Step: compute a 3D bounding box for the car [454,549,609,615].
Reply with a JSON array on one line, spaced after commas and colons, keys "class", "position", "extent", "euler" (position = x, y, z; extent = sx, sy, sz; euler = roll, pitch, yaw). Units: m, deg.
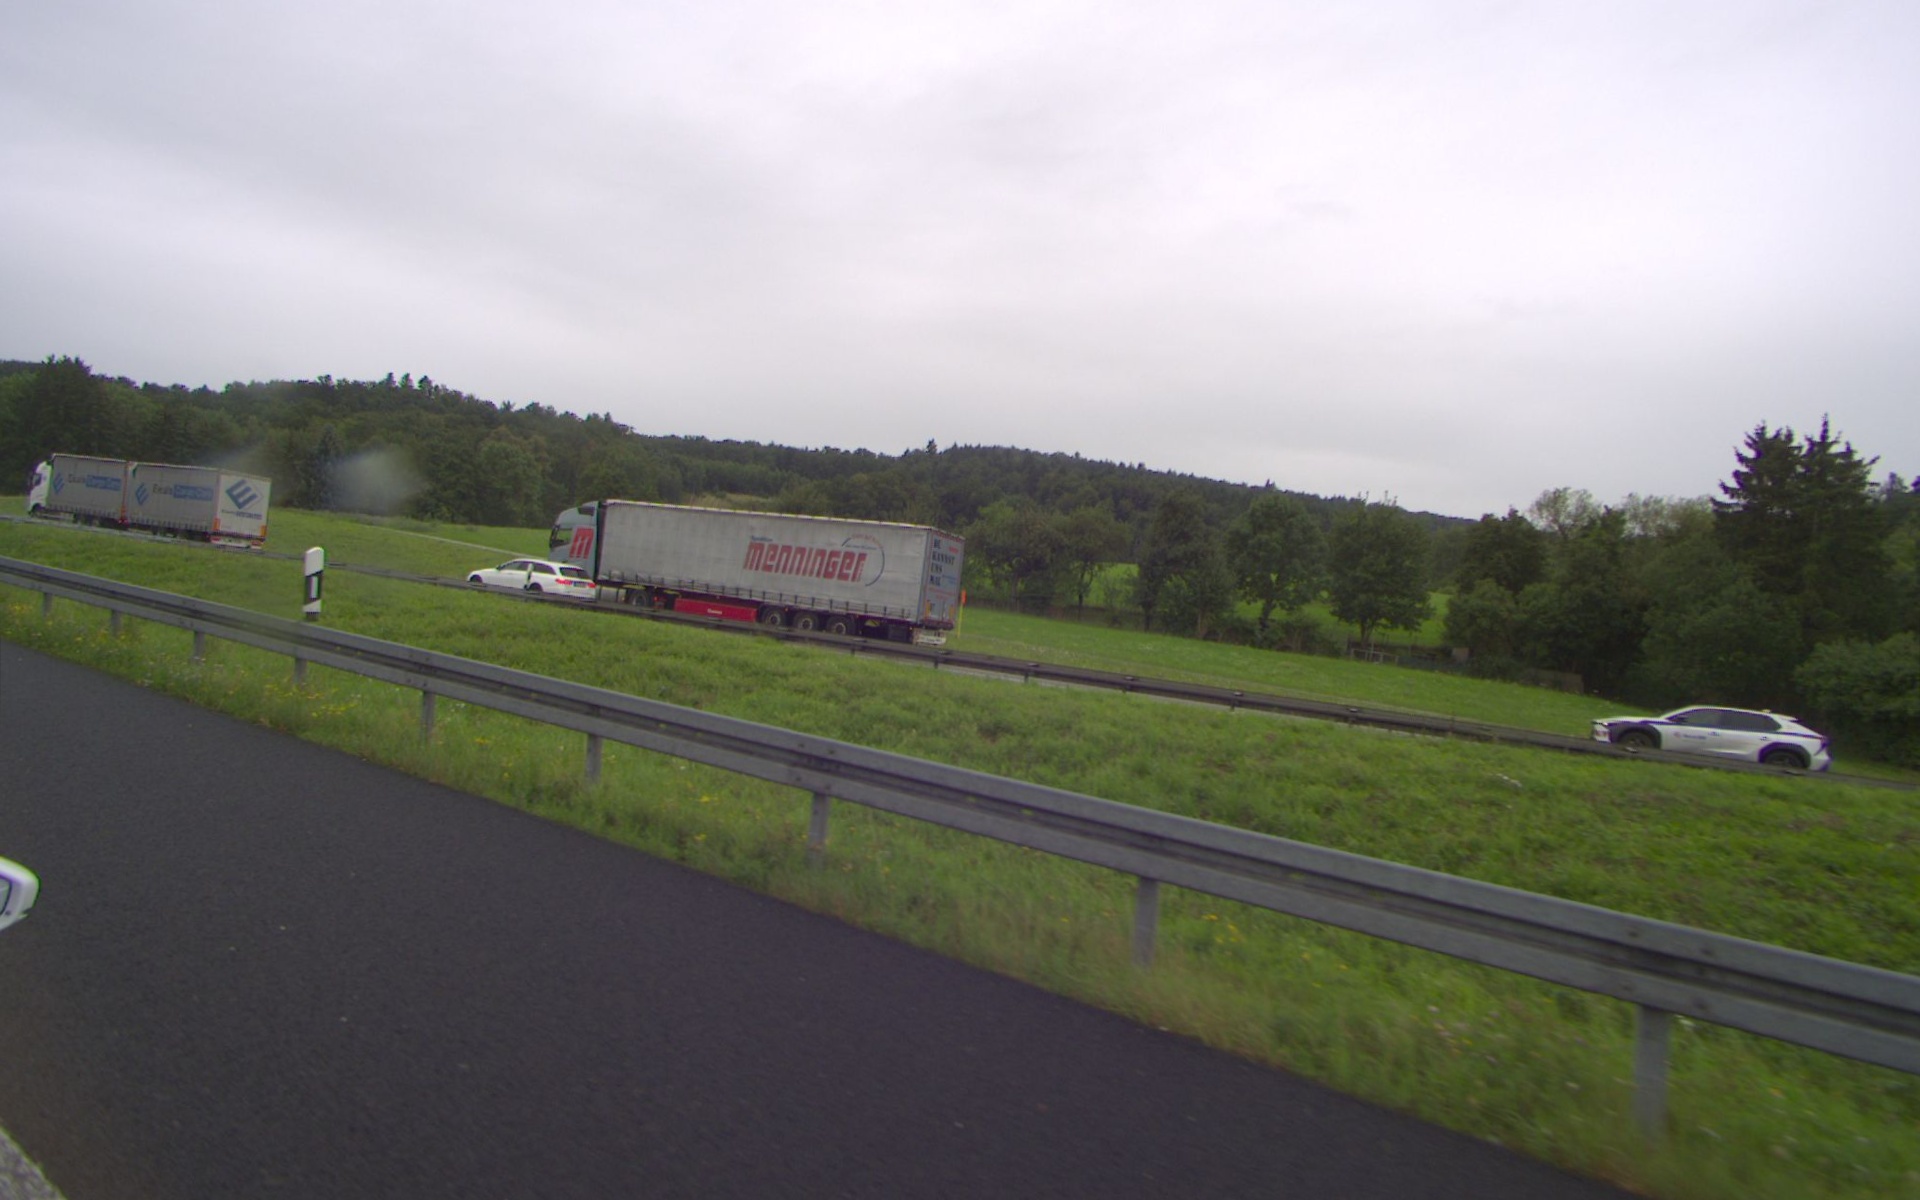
[{"class": "car", "position": [-14.784, -0.622, 34.678], "extent": [4.988, 1.636, 1.999], "euler": [7, -1, 25]}]

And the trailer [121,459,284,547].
[{"class": "trailer", "position": [-39.737, -5.100, 52.741], "extent": [7.939, 3.567, 3.089], "euler": [7, -2, 25]}]

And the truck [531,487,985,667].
[{"class": "truck", "position": [-7.643, -0.980, 35.981], "extent": [16.584, 4.595, 3.831], "euler": [7, -1, 25]}]

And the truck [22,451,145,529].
[{"class": "truck", "position": [-50.416, -6.328, 57.868], "extent": [5.822, 3.567, 2.948], "euler": [7, -2, 26]}]

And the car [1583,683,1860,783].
[{"class": "car", "position": [18.098, 3.104, 24.278], "extent": [4.944, 1.522, 1.823], "euler": [7, -1, 28]}]

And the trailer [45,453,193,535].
[{"class": "trailer", "position": [-47.029, -5.962, 56.220], "extent": [8.270, 3.567, 2.947], "euler": [7, -2, 26]}]
